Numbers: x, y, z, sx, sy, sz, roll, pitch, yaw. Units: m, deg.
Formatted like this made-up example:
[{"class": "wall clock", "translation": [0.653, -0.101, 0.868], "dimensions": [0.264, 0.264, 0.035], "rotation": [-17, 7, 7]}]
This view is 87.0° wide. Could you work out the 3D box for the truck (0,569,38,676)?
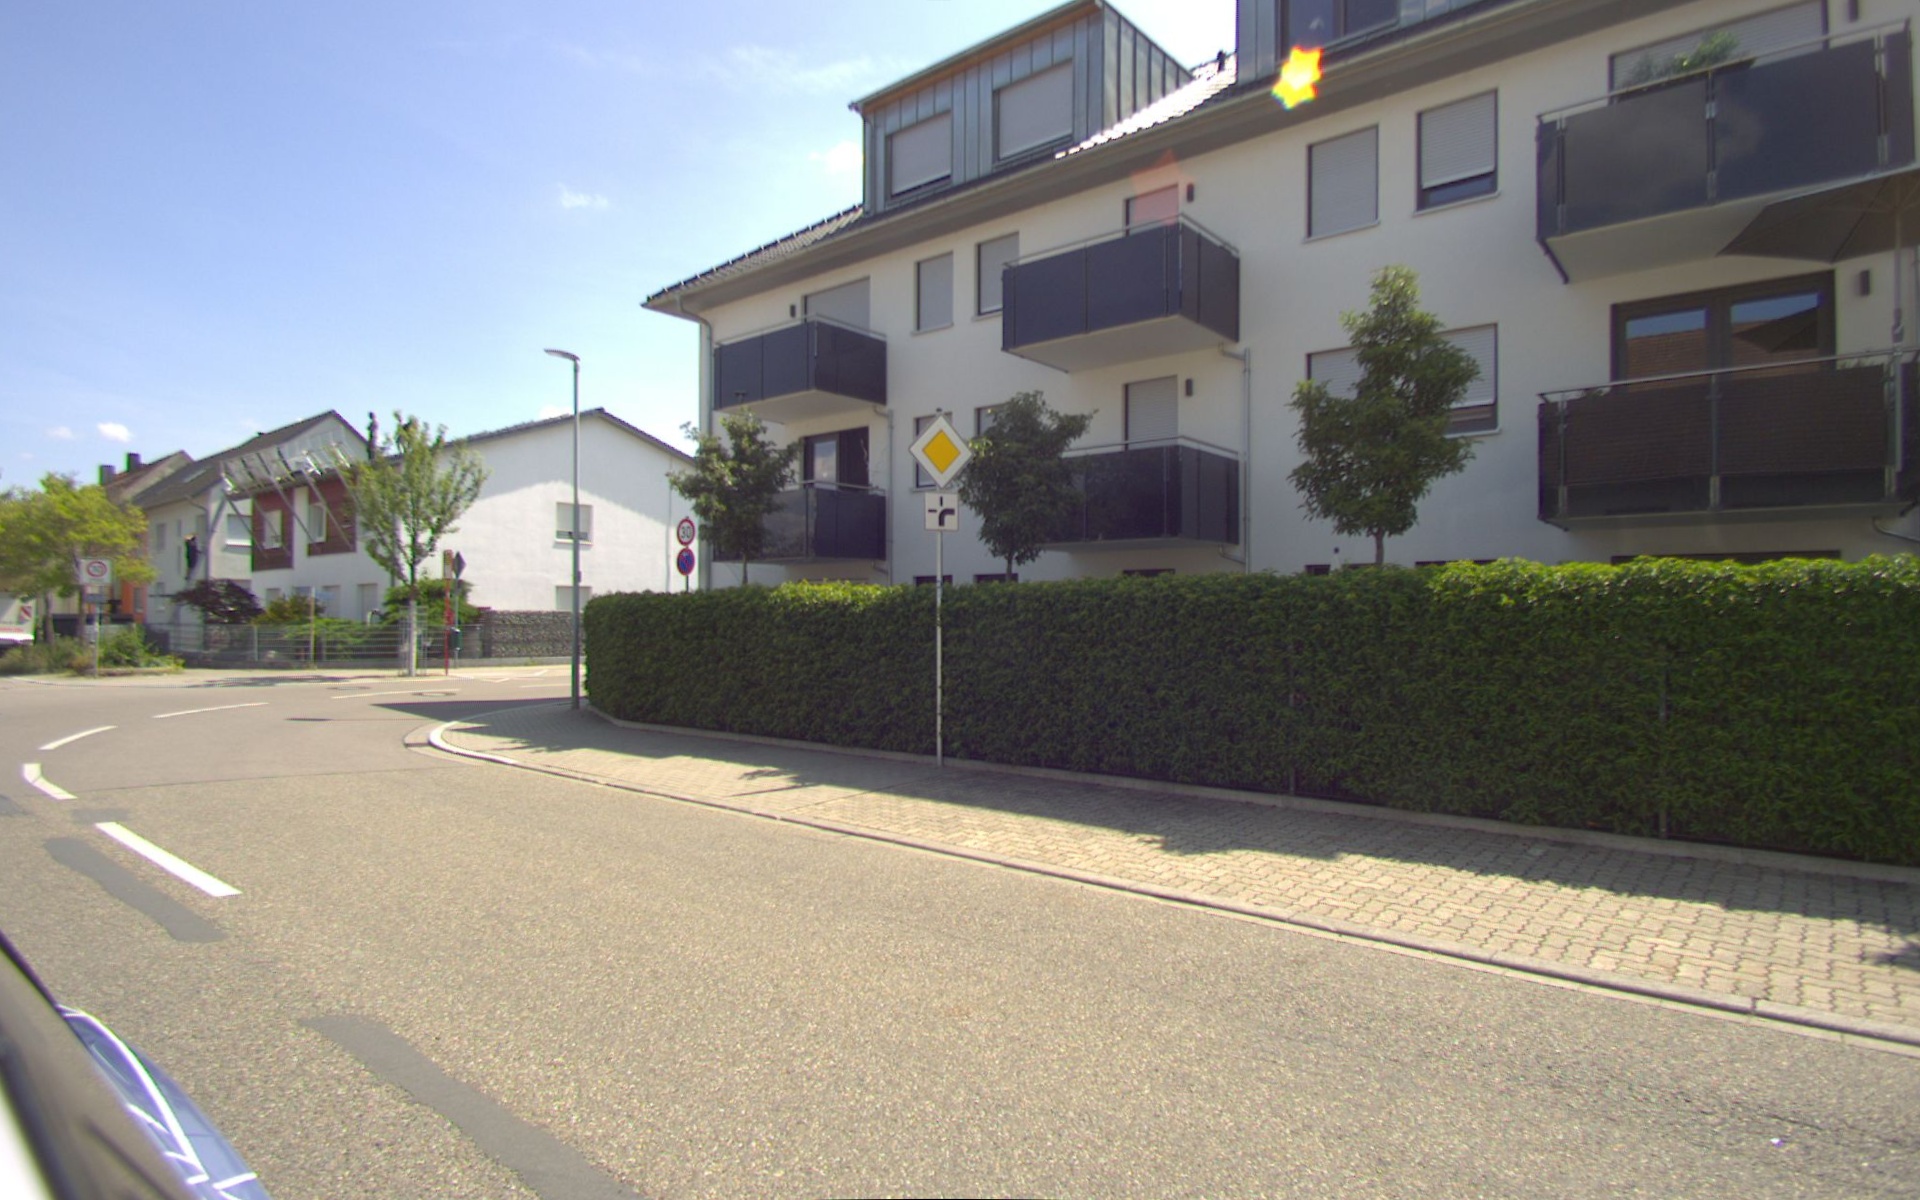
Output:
[{"class": "truck", "translation": [-32.646, 0.702, 33.002], "dimensions": [7.026, 3.271, 2.414], "rotation": [-1, -5, 38]}]
